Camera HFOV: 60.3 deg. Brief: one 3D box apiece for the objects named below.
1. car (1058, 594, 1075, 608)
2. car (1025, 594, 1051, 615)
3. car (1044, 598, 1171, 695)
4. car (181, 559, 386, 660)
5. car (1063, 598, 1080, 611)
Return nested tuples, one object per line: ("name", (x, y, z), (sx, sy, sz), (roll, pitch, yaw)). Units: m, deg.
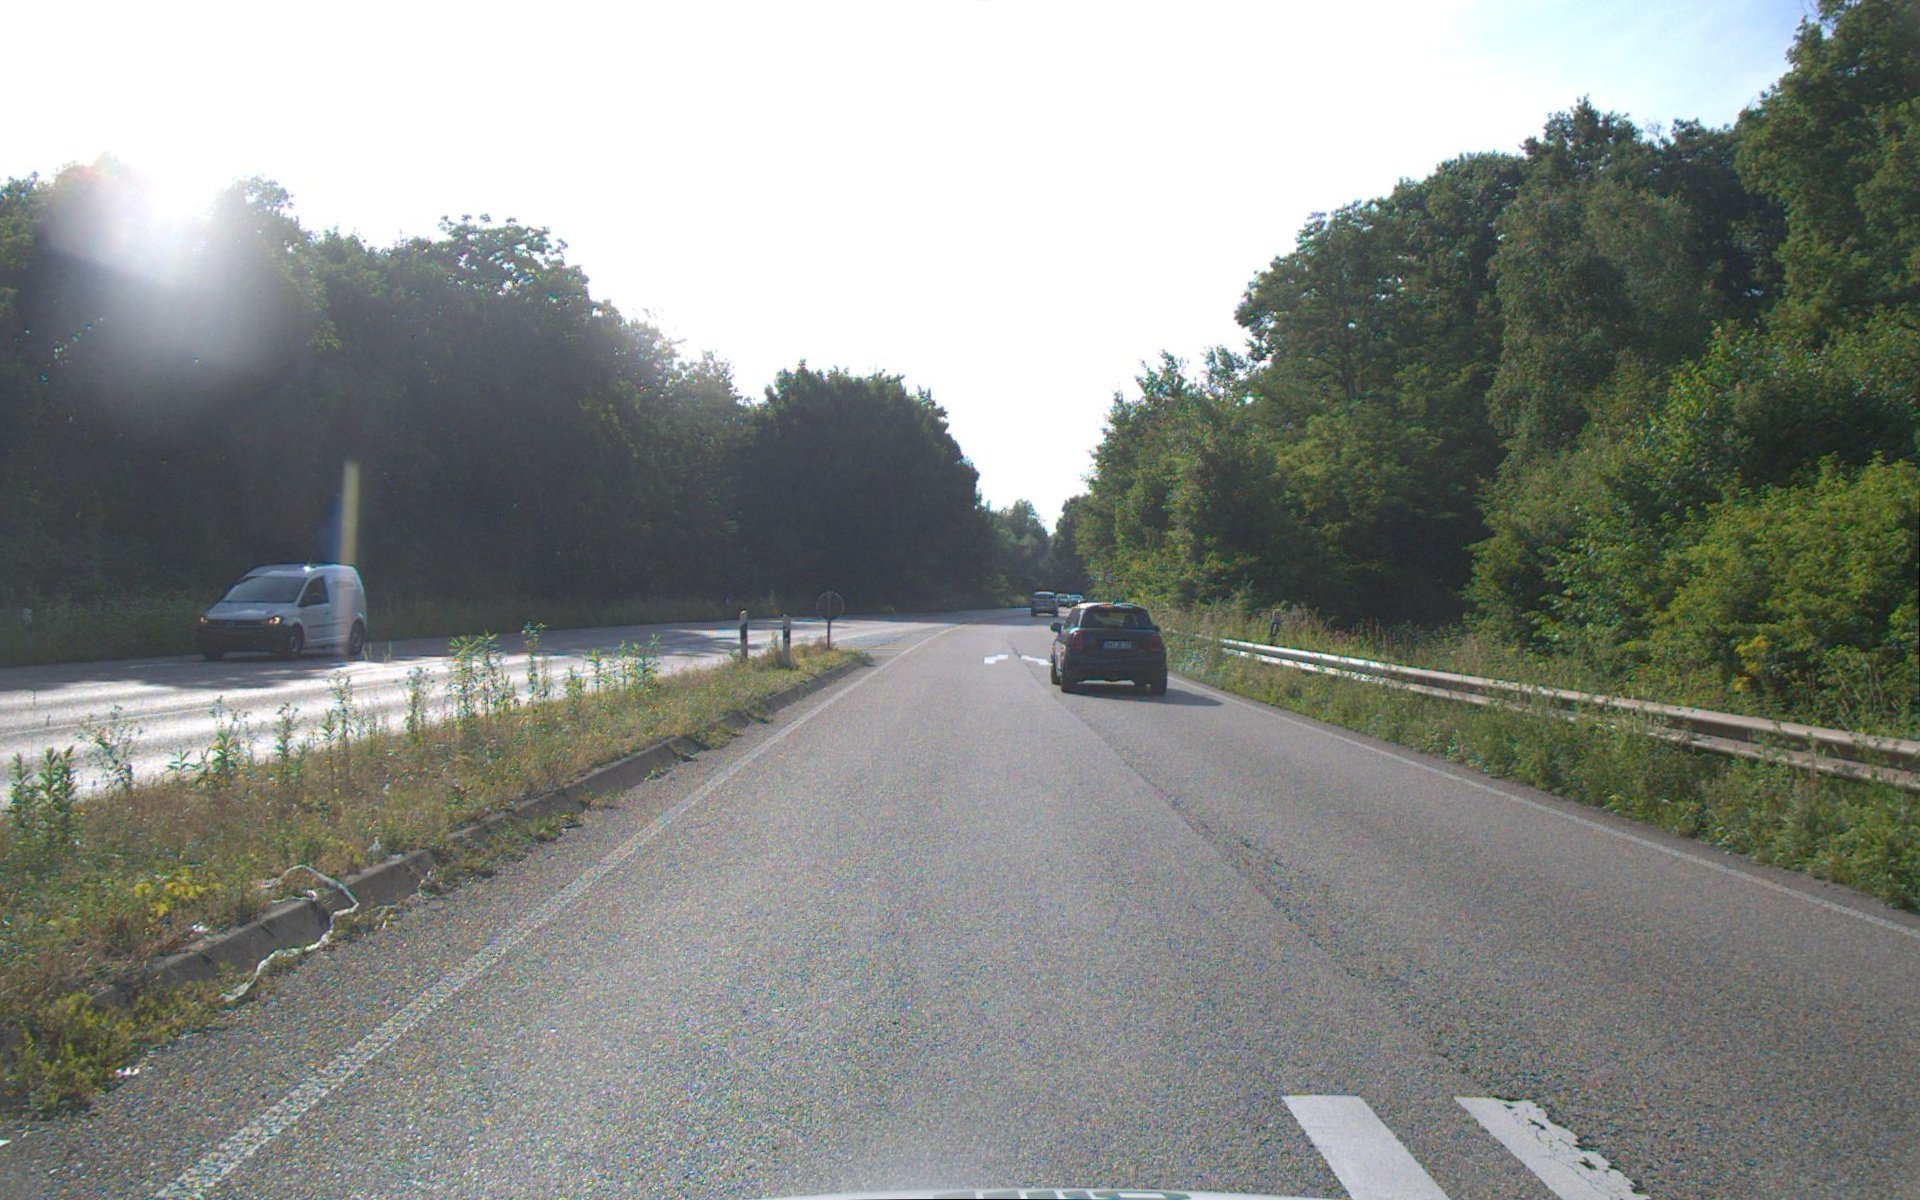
("car", (11.352, 0.085, 176.612), (1.724, 1.404, 3.972), (1, -1, 3))
("car", (5.492, 0.301, 117.057), (1.725, 1.404, 3.972), (1, -1, 2))
("car", (2.425, 0.765, 27.986), (1.782, 1.493, 3.872), (1, -1, 0))
("car", (-13.322, 0.218, 32.936), (1.811, 1.818, 4.672), (1, -1, 5))
("car", (12.725, 0.551, 189.224), (1.725, 1.404, 3.972), (1, -1, 2))
